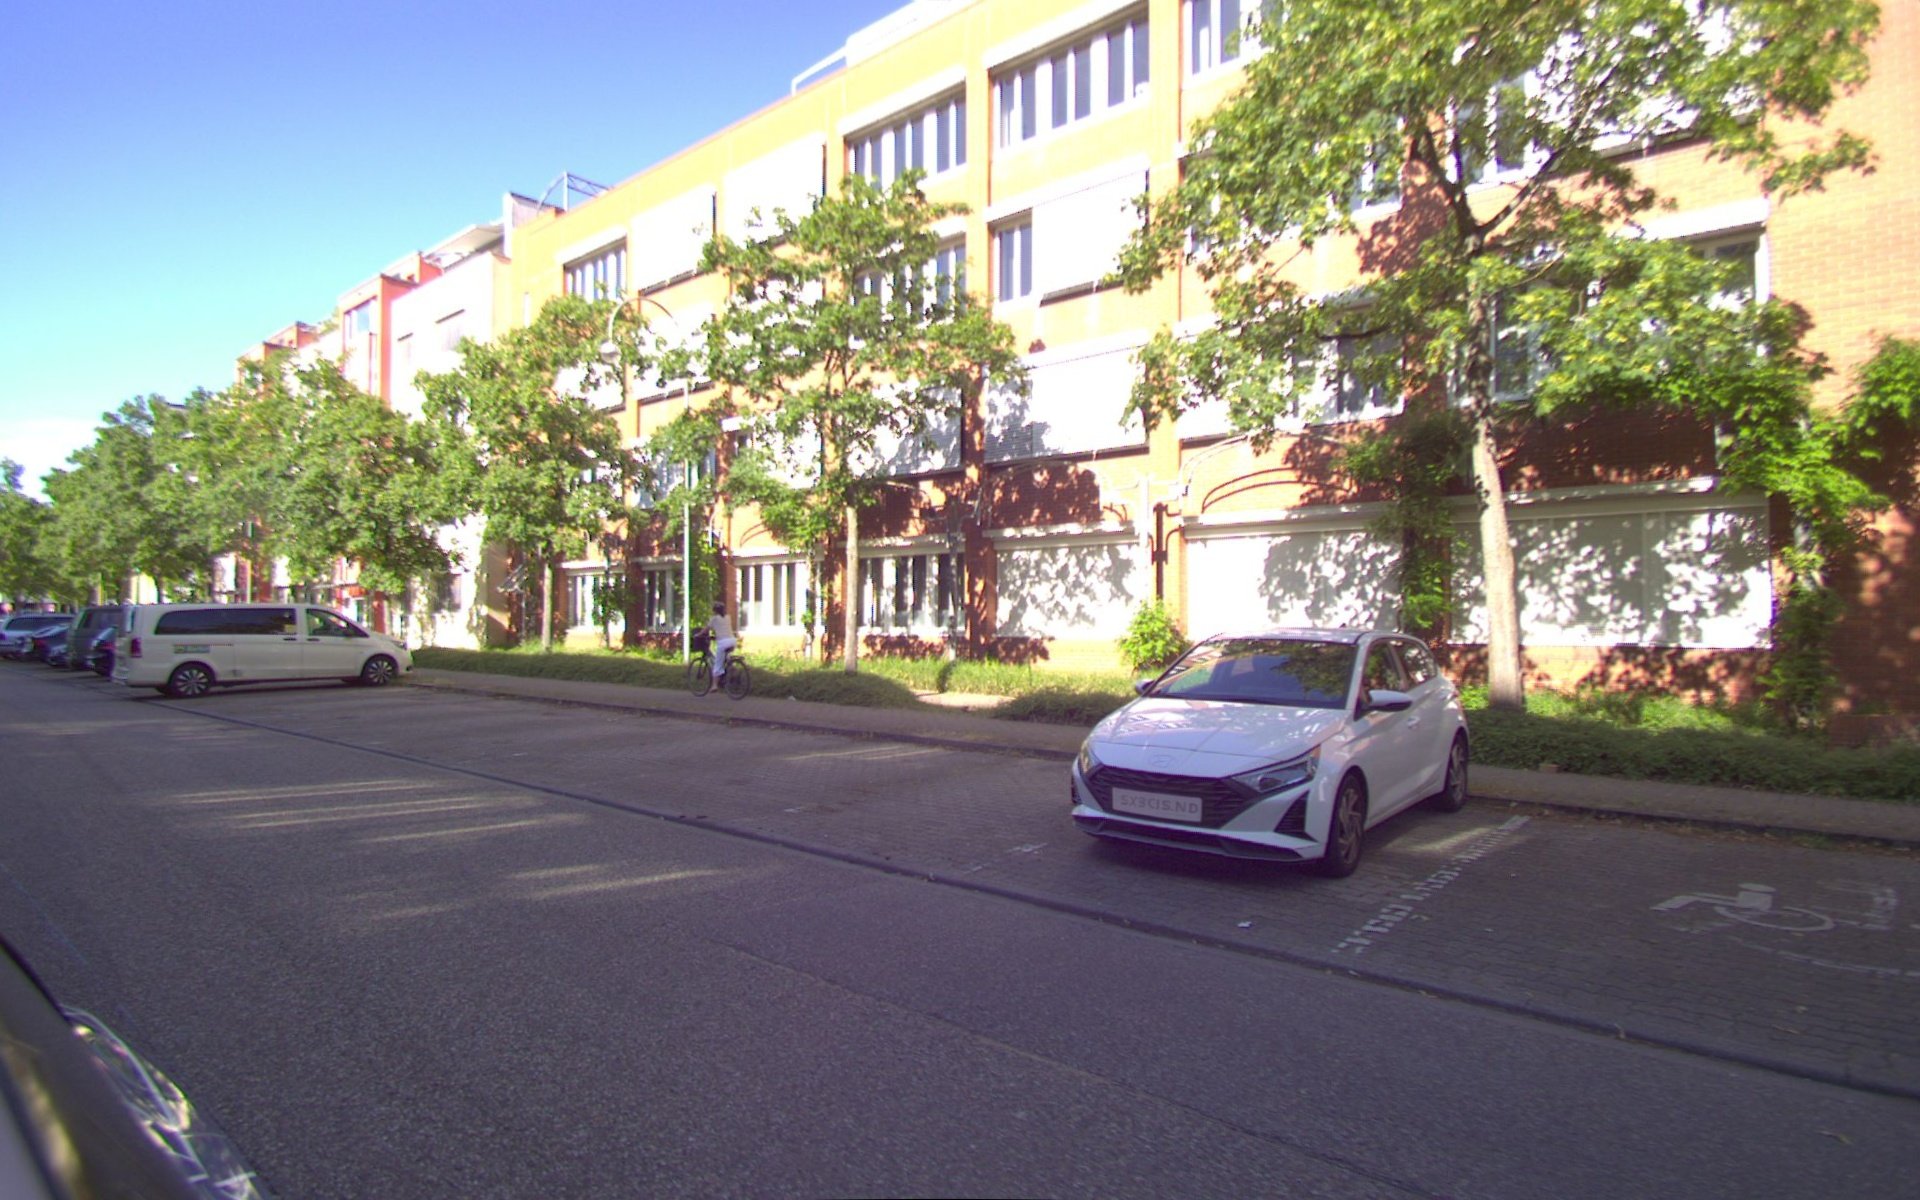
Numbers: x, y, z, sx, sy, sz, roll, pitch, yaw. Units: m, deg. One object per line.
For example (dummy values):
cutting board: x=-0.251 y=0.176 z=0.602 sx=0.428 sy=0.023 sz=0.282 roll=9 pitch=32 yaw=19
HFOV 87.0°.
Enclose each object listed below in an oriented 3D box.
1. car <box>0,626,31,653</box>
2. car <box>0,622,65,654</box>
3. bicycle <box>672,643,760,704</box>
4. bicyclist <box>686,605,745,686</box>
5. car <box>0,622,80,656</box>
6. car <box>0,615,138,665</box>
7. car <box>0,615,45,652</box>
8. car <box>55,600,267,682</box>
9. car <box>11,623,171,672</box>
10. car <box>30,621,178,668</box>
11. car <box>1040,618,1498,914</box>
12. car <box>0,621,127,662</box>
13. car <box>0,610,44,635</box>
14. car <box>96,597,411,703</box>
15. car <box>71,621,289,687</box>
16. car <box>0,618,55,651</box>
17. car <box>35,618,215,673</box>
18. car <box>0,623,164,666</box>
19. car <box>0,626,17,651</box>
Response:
car: x=-52.525 y=2.137 z=54.225 sx=1.738 sy=1.434 sz=3.852 roll=-1 pitch=-1 yaw=40
car: x=-44.902 y=1.794 z=47.782 sx=1.873 sy=1.458 sz=3.692 roll=-1 pitch=-1 yaw=37
bicycle: x=-4.280 y=1.263 z=17.691 sx=1.864 sy=0.989 sz=0.598 roll=-1 pitch=-3 yaw=45
bicyclist: x=-4.273 y=0.787 z=17.704 sx=0.913 sy=1.363 sz=0.598 roll=-2 pitch=-3 yaw=44
car: x=-42.977 y=1.773 z=46.411 sx=1.856 sy=1.458 sz=3.692 roll=-1 pitch=-1 yaw=37
car: x=-33.609 y=1.466 z=37.884 sx=4.271 sy=1.730 sz=1.963 roll=0 pitch=-1 yaw=-45
car: x=-48.899 y=1.685 z=51.070 sx=1.784 sy=1.825 sz=3.852 roll=-1 pitch=-1 yaw=40
car: x=-22.444 y=1.090 z=28.553 sx=2.082 sy=2.105 sz=4.440 roll=-1 pitch=-1 yaw=42
car: x=-28.092 y=1.497 z=32.791 sx=1.723 sy=1.438 sz=3.691 roll=-1 pitch=-1 yaw=38
car: x=-29.532 y=1.498 z=34.994 sx=1.723 sy=1.438 sz=3.689 roll=-1 pitch=-1 yaw=39
car: x=2.441 y=0.890 z=7.294 sx=1.805 sy=1.497 sz=3.947 roll=-1 pitch=-1 yaw=39
car: x=-35.357 y=1.599 z=39.342 sx=1.770 sy=1.438 sz=4.360 roll=-1 pitch=-1 yaw=38
car: x=-77.210 y=1.826 z=81.542 sx=1.983 sy=2.000 sz=4.744 roll=-1 pitch=-2 yaw=17
car: x=-14.855 y=0.955 z=21.562 sx=1.942 sy=1.982 sz=5.202 roll=-1 pitch=-1 yaw=42
car: x=-20.390 y=1.347 z=26.576 sx=1.942 sy=1.489 sz=4.274 roll=-1 pitch=-1 yaw=42
car: x=-46.955 y=1.704 z=49.493 sx=1.858 sy=1.586 sz=3.852 roll=-1 pitch=-1 yaw=40
car: x=-25.885 y=1.367 z=31.490 sx=1.724 sy=1.539 sz=4.090 roll=-1 pitch=-1 yaw=40
car: x=-31.644 y=1.574 z=36.567 sx=1.755 sy=1.369 sz=4.278 roll=-1 pitch=-1 yaw=39
car: x=-56.364 y=2.210 z=57.335 sx=1.740 sy=1.434 sz=4.215 roll=-1 pitch=-1 yaw=44
